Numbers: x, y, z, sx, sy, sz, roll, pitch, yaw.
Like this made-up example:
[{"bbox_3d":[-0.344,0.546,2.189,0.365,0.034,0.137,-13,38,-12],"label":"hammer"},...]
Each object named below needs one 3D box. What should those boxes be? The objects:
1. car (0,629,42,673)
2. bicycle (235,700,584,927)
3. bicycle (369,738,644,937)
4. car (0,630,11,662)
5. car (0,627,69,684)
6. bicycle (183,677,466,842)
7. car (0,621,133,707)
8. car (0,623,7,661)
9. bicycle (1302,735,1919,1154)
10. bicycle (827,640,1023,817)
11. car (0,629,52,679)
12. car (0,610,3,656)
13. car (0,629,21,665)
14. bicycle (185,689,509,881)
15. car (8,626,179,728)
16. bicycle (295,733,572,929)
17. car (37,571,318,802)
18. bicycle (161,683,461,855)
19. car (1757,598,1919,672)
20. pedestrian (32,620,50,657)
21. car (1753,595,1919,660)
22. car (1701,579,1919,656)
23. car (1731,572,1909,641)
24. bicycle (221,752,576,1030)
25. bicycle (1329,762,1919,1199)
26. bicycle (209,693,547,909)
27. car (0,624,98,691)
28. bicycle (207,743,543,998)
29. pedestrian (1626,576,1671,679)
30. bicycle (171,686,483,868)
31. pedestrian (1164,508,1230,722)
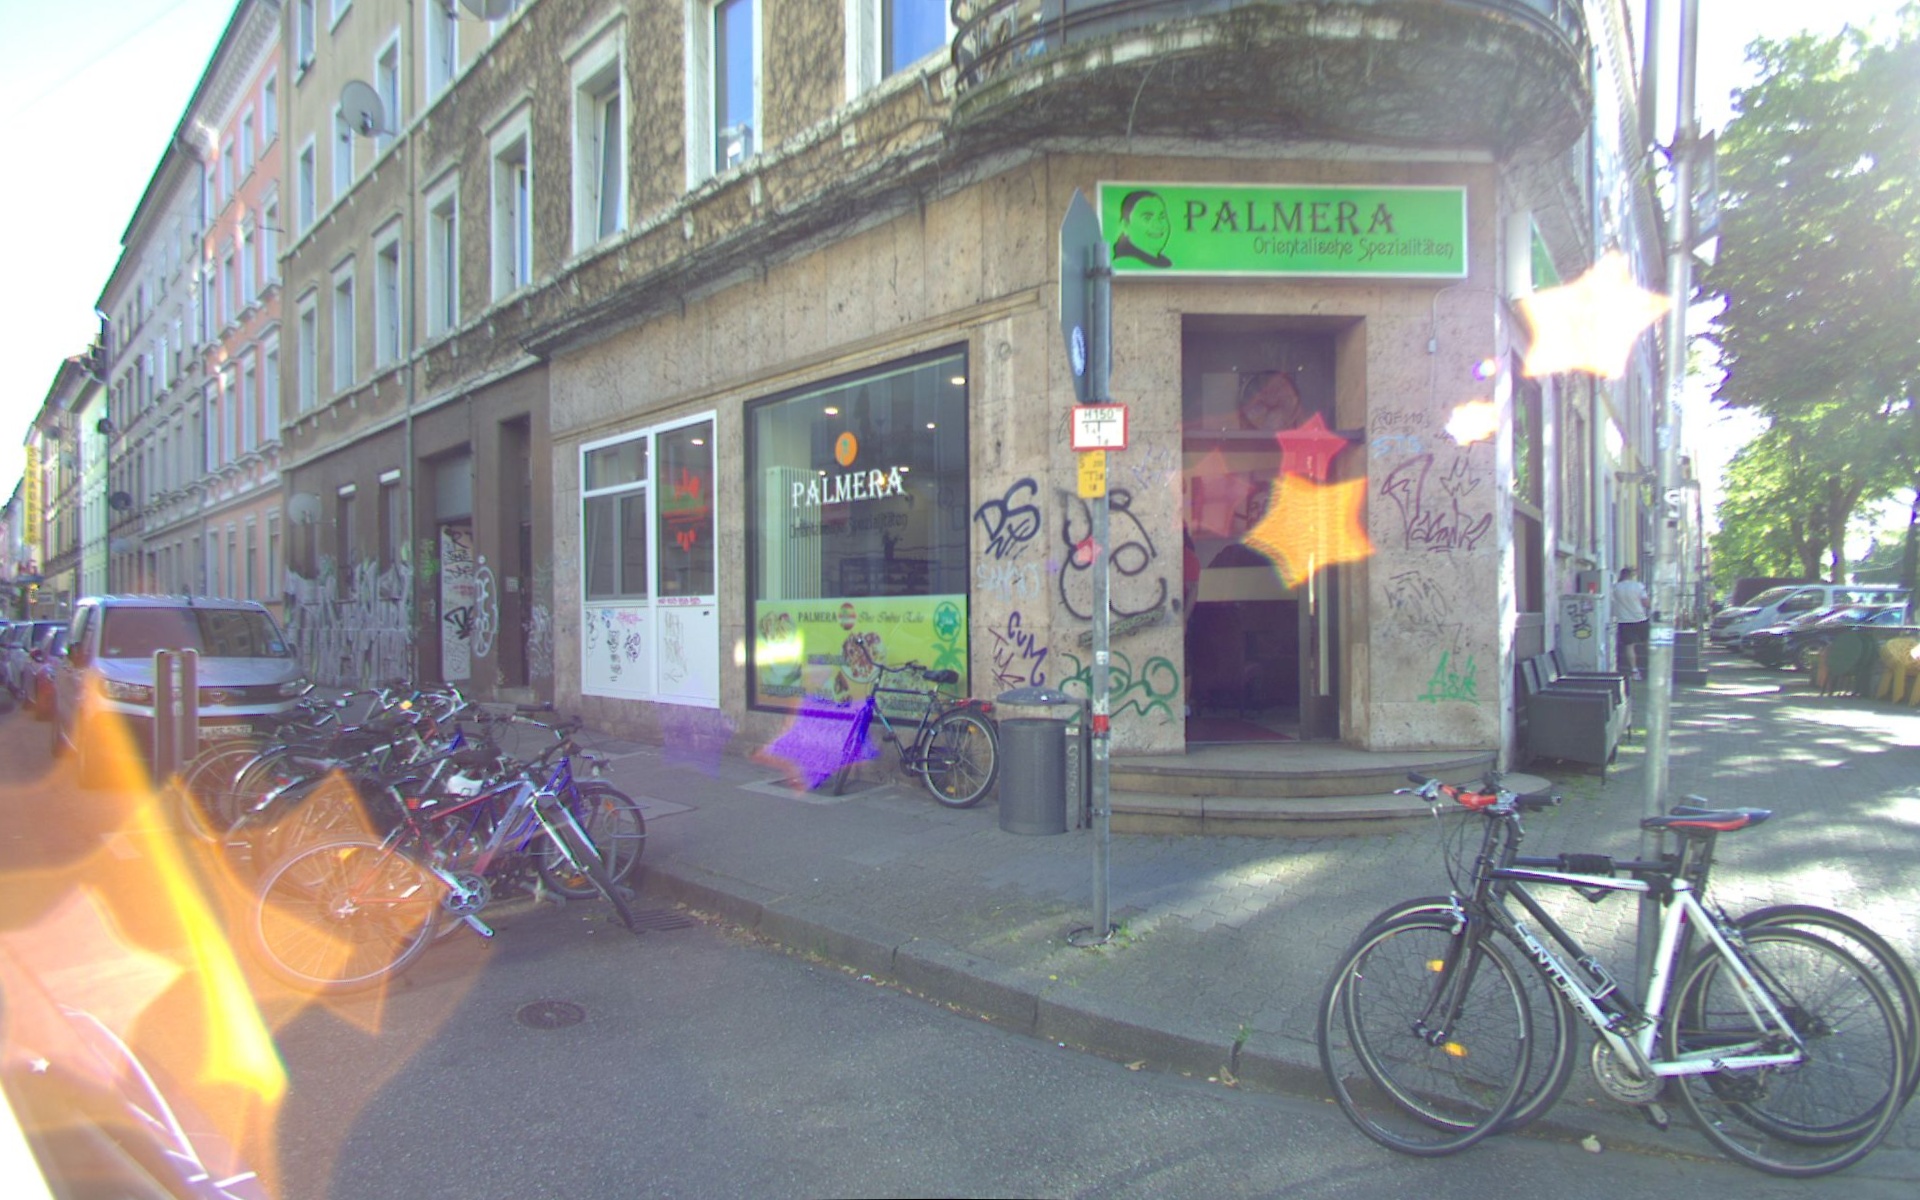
[{"bbox_3d":[-33.512,1.764,35.551,3.861,1.474,1.660,-2,-1,44],"label":"car"},{"bbox_3d":[-3.065,1.132,5.812,0.427,0.969,1.748,-2,-1,36],"label":"bicycle"},{"bbox_3d":[-2.402,1.224,5.508,0.361,0.824,1.375,-2,-3,34],"label":"bicycle"},{"bbox_3d":[-44.692,2.122,46.338,3.861,1.426,1.660,-2,-1,44],"label":"car"},{"bbox_3d":[-26.170,1.507,28.246,4.314,1.474,1.660,-2,-1,44],"label":"car"},{"bbox_3d":[-4.703,1.129,7.591,0.463,0.996,1.745,-2,-2,43],"label":"bicycle"},{"bbox_3d":[-17.765,1.218,20.027,2.958,1.561,1.662,-2,-2,40],"label":"car"},{"bbox_3d":[-49.377,2.120,51.168,1.727,1.906,4.775,0,-1,-43],"label":"car"},{"bbox_3d":[1.919,0.963,2.967,1.642,1.054,0.450,-1,-1,4],"label":"bicycle"},{"bbox_3d":[-0.289,0.848,7.180,1.592,1.100,0.393,-1,-1,44],"label":"bicycle"},{"bbox_3d":[-29.673,1.672,31.798,1.658,1.474,3.865,0,-1,-41],"label":"car"},{"bbox_3d":[-57.483,1.953,59.089,5.843,2.611,2.065,-2,-1,44],"label":"car"},{"bbox_3d":[-41.024,2.000,42.881,3.861,1.468,1.660,-2,-1,44],"label":"car"},{"bbox_3d":[-3.890,1.122,6.553,0.443,0.969,1.745,-2,-2,42],"label":"bicycle"},{"bbox_3d":[-14.492,1.198,16.840,4.203,1.485,1.661,-2,-3,43],"label":"car"},{"bbox_3d":[-2.793,1.186,5.490,0.381,0.824,1.297,-2,-3,34],"label":"bicycle"},{"bbox_3d":[-8.355,0.808,10.642,4.521,1.925,1.660,-2,-4,45],"label":"car"},{"bbox_3d":[-4.517,1.126,7.156,0.405,0.969,1.745,-2,-2,42],"label":"bicycle"},{"bbox_3d":[20.055,0.728,21.456,4.601,1.502,1.680,-1,-1,15],"label":"car"},{"bbox_3d":[-46.410,1.939,51.122,0.617,1.844,0.595,-2,0,-45],"label":"pedestrian"},{"bbox_3d":[22.915,0.704,26.194,3.292,1.514,1.682,-2,1,13],"label":"car"},{"bbox_3d":[24.290,0.493,28.316,5.295,2.006,2.030,-2,-1,14],"label":"car"},{"bbox_3d":[34.547,0.213,40.887,5.185,2.597,2.220,2,0,34],"label":"car"},{"bbox_3d":[-2.312,1.147,4.302,0.370,0.824,1.297,-2,-1,34],"label":"bicycle"},{"bbox_3d":[1.842,0.980,2.434,1.666,1.053,0.458,-3,-1,4],"label":"bicycle"},{"bbox_3d":[-3.400,1.115,6.090,0.480,0.969,1.751,-2,-1,32],"label":"bicycle"},{"bbox_3d":[-22.671,1.370,24.979,3.611,1.504,1.661,-2,-1,42],"label":"car"},{"bbox_3d":[-2.579,1.144,4.582,0.354,0.824,1.297,-2,-1,34],"label":"bicycle"},{"bbox_3d":[11.313,0.457,16.640,0.538,1.655,0.563,-3,-2,35],"label":"pedestrian"},{"bbox_3d":[-4.212,1.125,6.855,0.422,0.969,1.745,-2,-2,42],"label":"bicycle"},{"bbox_3d":[1.980,0.120,8.445,0.429,1.729,0.404,-1,0,27],"label":"pedestrian"}]
